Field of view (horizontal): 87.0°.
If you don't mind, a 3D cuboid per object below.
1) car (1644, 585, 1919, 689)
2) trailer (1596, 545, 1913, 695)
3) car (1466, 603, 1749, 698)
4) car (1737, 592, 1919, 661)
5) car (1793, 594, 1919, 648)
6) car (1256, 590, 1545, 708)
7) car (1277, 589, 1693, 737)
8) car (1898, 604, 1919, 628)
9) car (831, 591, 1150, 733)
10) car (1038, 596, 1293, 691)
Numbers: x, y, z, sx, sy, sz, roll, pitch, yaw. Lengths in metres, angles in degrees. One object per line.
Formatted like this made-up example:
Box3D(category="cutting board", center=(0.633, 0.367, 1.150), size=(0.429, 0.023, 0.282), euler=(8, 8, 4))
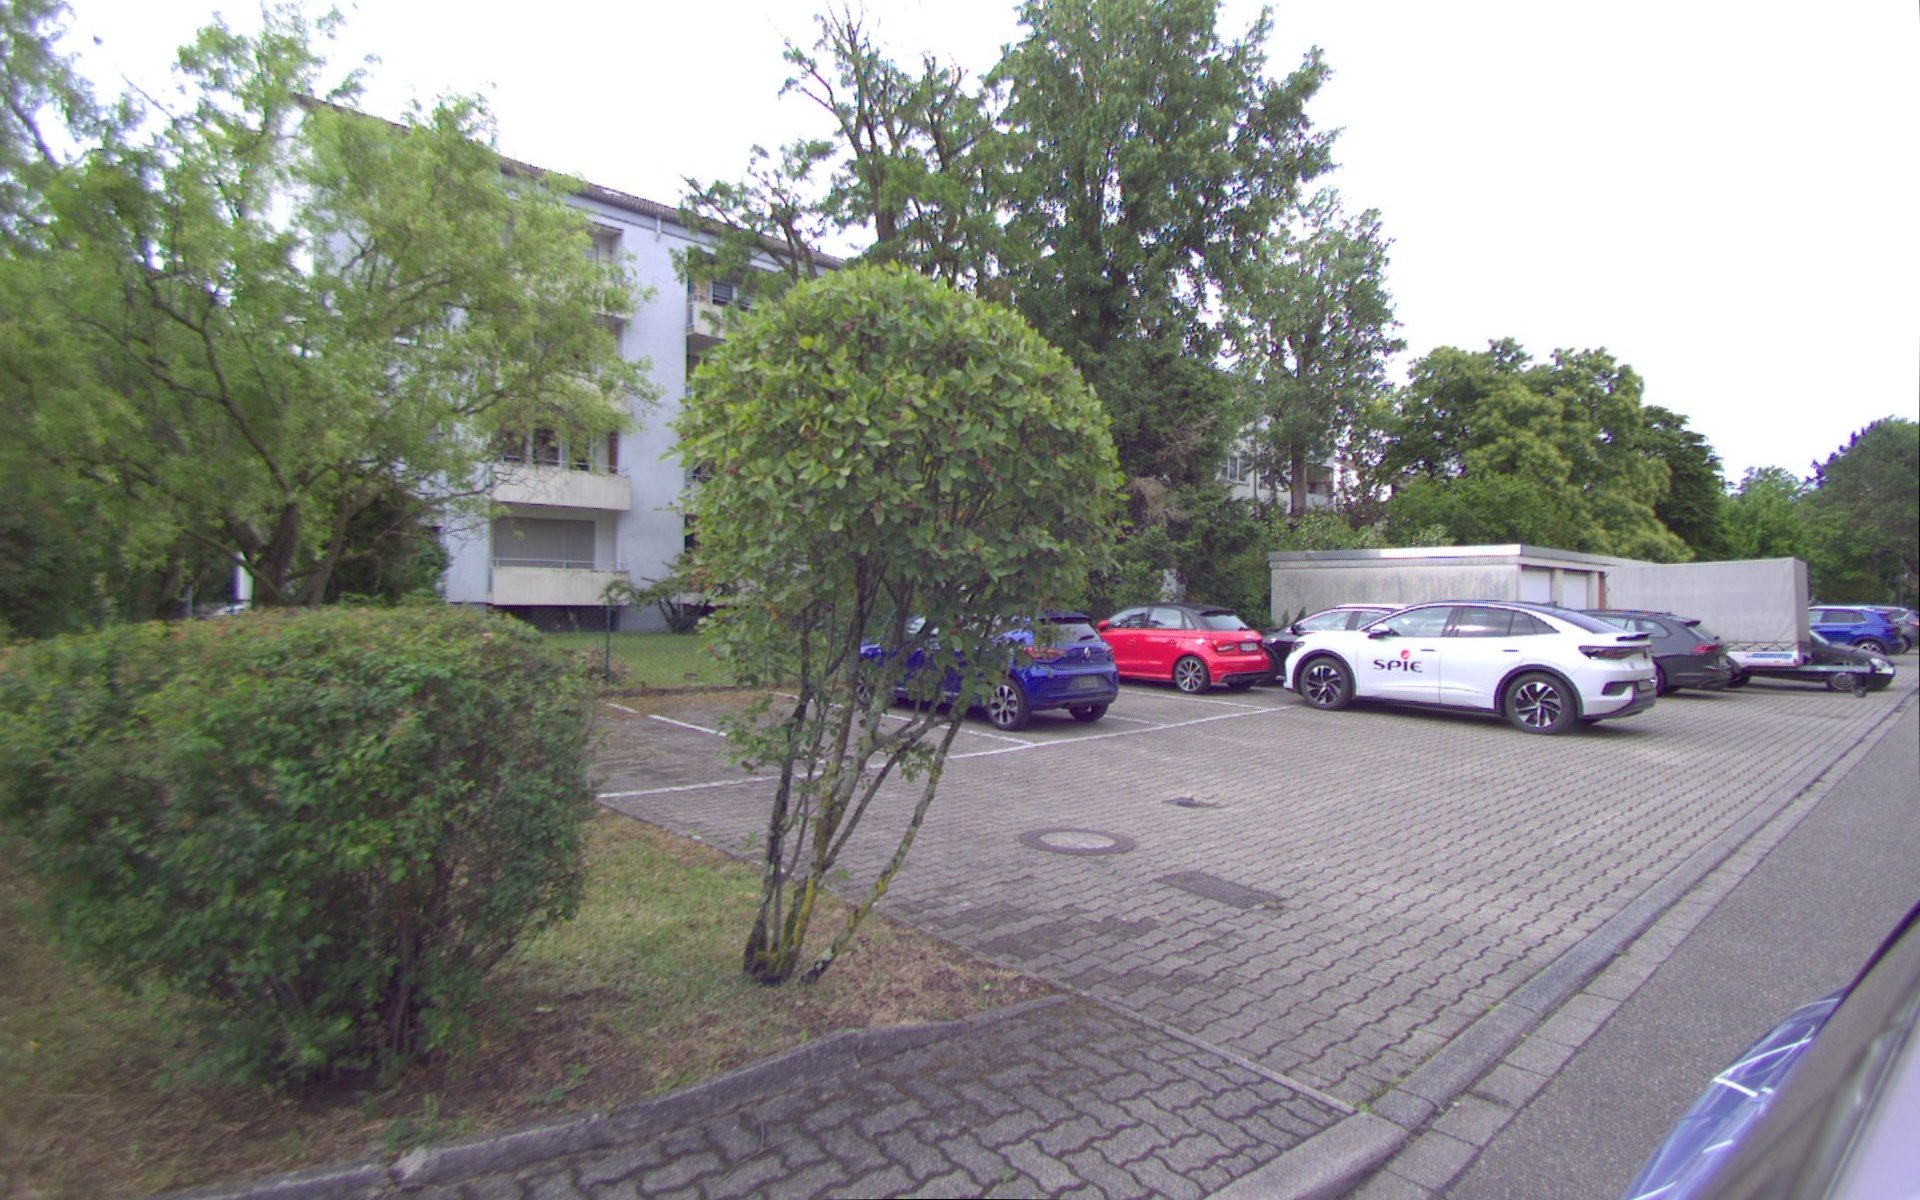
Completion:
Box3D(category="car", center=(17.412, 0.686, 21.576), size=(1.967, 1.824, 4.316), euler=(1, 2, -43))
Box3D(category="trailer", center=(15.296, 0.343, 19.692), size=(1.909, 2.557, 4.615), euler=(1, -1, -42))
Box3D(category="car", center=(11.780, 0.836, 18.622), size=(1.585, 1.467, 4.132), euler=(1, 0, -43))
Box3D(category="car", center=(25.659, 0.727, 29.903), size=(1.967, 1.724, 3.992), euler=(1, 2, -43))
Box3D(category="car", center=(33.926, 0.765, 37.698), size=(1.967, 1.749, 4.200), euler=(1, 2, -43))
Box3D(category="car", center=(7.259, 0.714, 16.888), size=(3.986, 1.571, 1.970), euler=(3, 2, 42))
Box3D(category="car", center=(6.782, 0.684, 13.495), size=(1.953, 1.609, 4.545), euler=(1, 0, -41))
Box3D(category="car", center=(70.083, 1.192, 72.550), size=(1.758, 1.667, 4.097), euler=(0, 1, -44))
Box3D(category="car", center=(0.281, 0.669, 13.147), size=(1.993, 1.530, 3.902), euler=(1, 0, -43))
Box3D(category="car", center=(3.421, 0.653, 17.312), size=(1.938, 1.398, 3.902), euler=(1, 0, -43))
